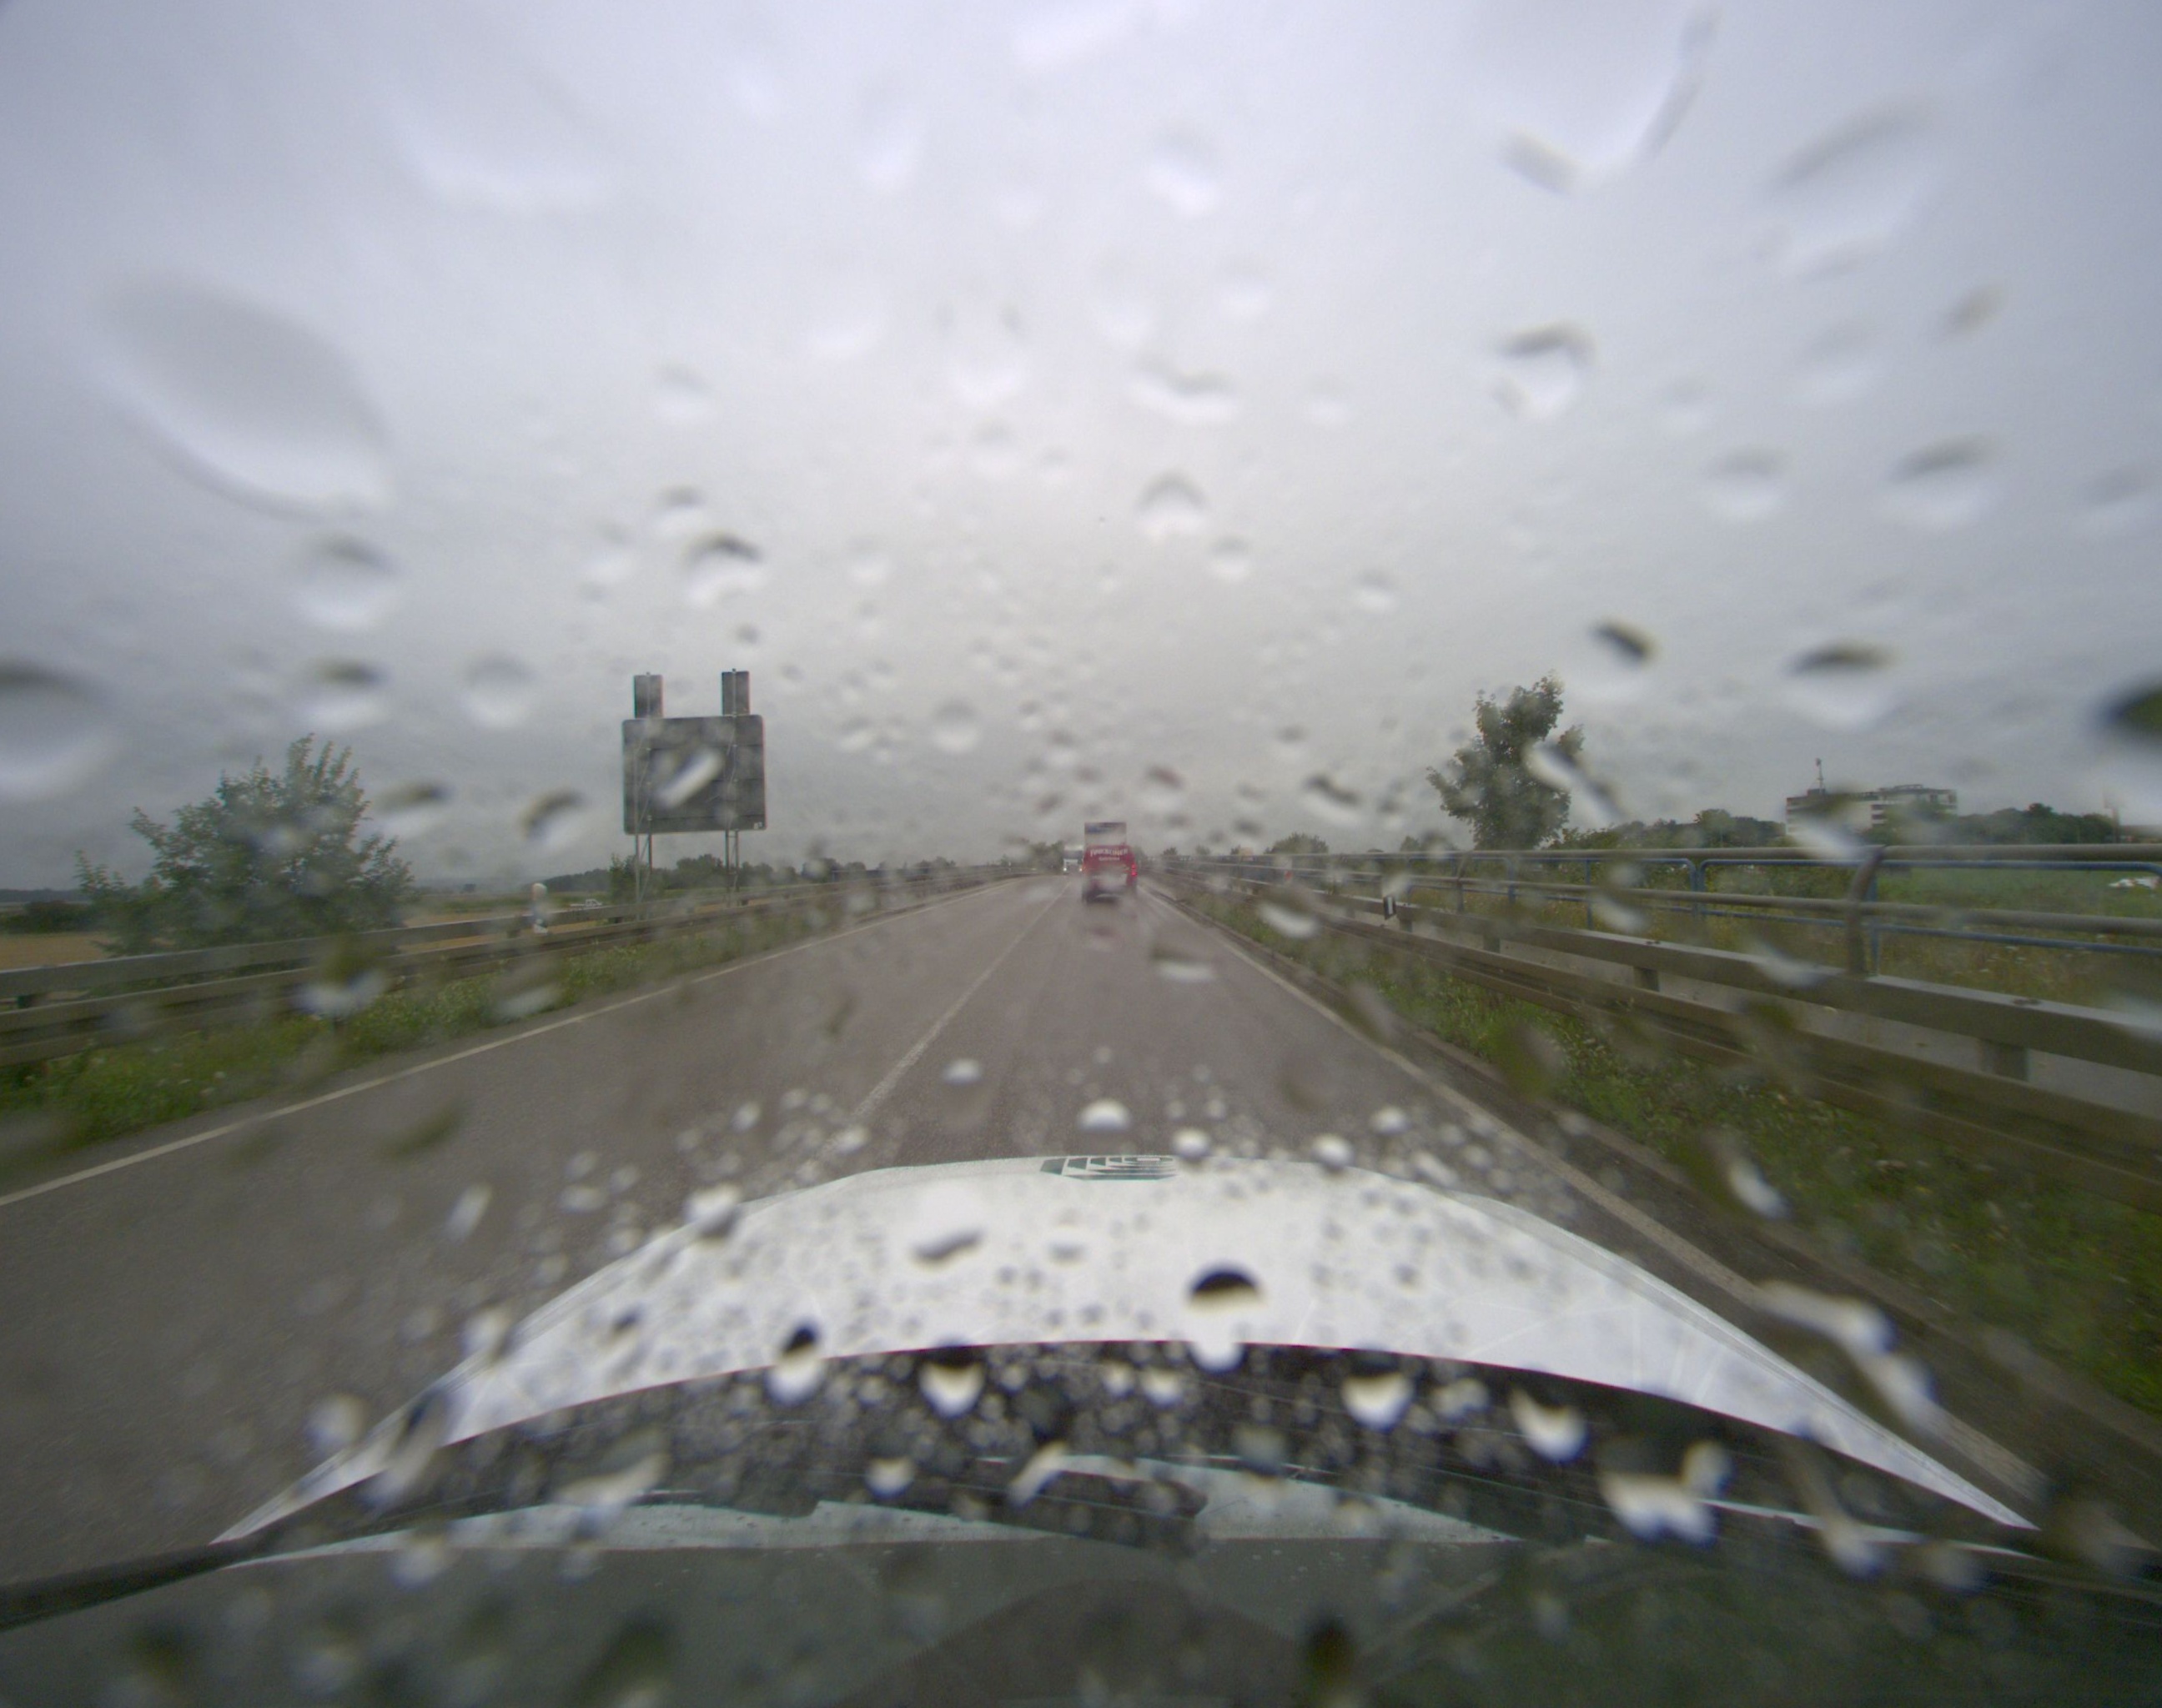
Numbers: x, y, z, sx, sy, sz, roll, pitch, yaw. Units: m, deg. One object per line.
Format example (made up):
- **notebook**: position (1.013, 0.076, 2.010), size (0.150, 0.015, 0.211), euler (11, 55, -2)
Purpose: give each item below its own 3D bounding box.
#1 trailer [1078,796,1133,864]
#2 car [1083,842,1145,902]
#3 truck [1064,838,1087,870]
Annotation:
- **trailer**: position (1.647, -1.372, 52.880), size (3.188, 3.922, 8.744), euler (2, -1, 3)
- **car**: position (1.081, 0.582, 28.392), size (1.987, 1.925, 4.143), euler (0, 0, 0)
- **truck**: position (-0.615, -0.014, 107.716), size (2.808, 3.970, 8.763), euler (-1, 0, 0)
